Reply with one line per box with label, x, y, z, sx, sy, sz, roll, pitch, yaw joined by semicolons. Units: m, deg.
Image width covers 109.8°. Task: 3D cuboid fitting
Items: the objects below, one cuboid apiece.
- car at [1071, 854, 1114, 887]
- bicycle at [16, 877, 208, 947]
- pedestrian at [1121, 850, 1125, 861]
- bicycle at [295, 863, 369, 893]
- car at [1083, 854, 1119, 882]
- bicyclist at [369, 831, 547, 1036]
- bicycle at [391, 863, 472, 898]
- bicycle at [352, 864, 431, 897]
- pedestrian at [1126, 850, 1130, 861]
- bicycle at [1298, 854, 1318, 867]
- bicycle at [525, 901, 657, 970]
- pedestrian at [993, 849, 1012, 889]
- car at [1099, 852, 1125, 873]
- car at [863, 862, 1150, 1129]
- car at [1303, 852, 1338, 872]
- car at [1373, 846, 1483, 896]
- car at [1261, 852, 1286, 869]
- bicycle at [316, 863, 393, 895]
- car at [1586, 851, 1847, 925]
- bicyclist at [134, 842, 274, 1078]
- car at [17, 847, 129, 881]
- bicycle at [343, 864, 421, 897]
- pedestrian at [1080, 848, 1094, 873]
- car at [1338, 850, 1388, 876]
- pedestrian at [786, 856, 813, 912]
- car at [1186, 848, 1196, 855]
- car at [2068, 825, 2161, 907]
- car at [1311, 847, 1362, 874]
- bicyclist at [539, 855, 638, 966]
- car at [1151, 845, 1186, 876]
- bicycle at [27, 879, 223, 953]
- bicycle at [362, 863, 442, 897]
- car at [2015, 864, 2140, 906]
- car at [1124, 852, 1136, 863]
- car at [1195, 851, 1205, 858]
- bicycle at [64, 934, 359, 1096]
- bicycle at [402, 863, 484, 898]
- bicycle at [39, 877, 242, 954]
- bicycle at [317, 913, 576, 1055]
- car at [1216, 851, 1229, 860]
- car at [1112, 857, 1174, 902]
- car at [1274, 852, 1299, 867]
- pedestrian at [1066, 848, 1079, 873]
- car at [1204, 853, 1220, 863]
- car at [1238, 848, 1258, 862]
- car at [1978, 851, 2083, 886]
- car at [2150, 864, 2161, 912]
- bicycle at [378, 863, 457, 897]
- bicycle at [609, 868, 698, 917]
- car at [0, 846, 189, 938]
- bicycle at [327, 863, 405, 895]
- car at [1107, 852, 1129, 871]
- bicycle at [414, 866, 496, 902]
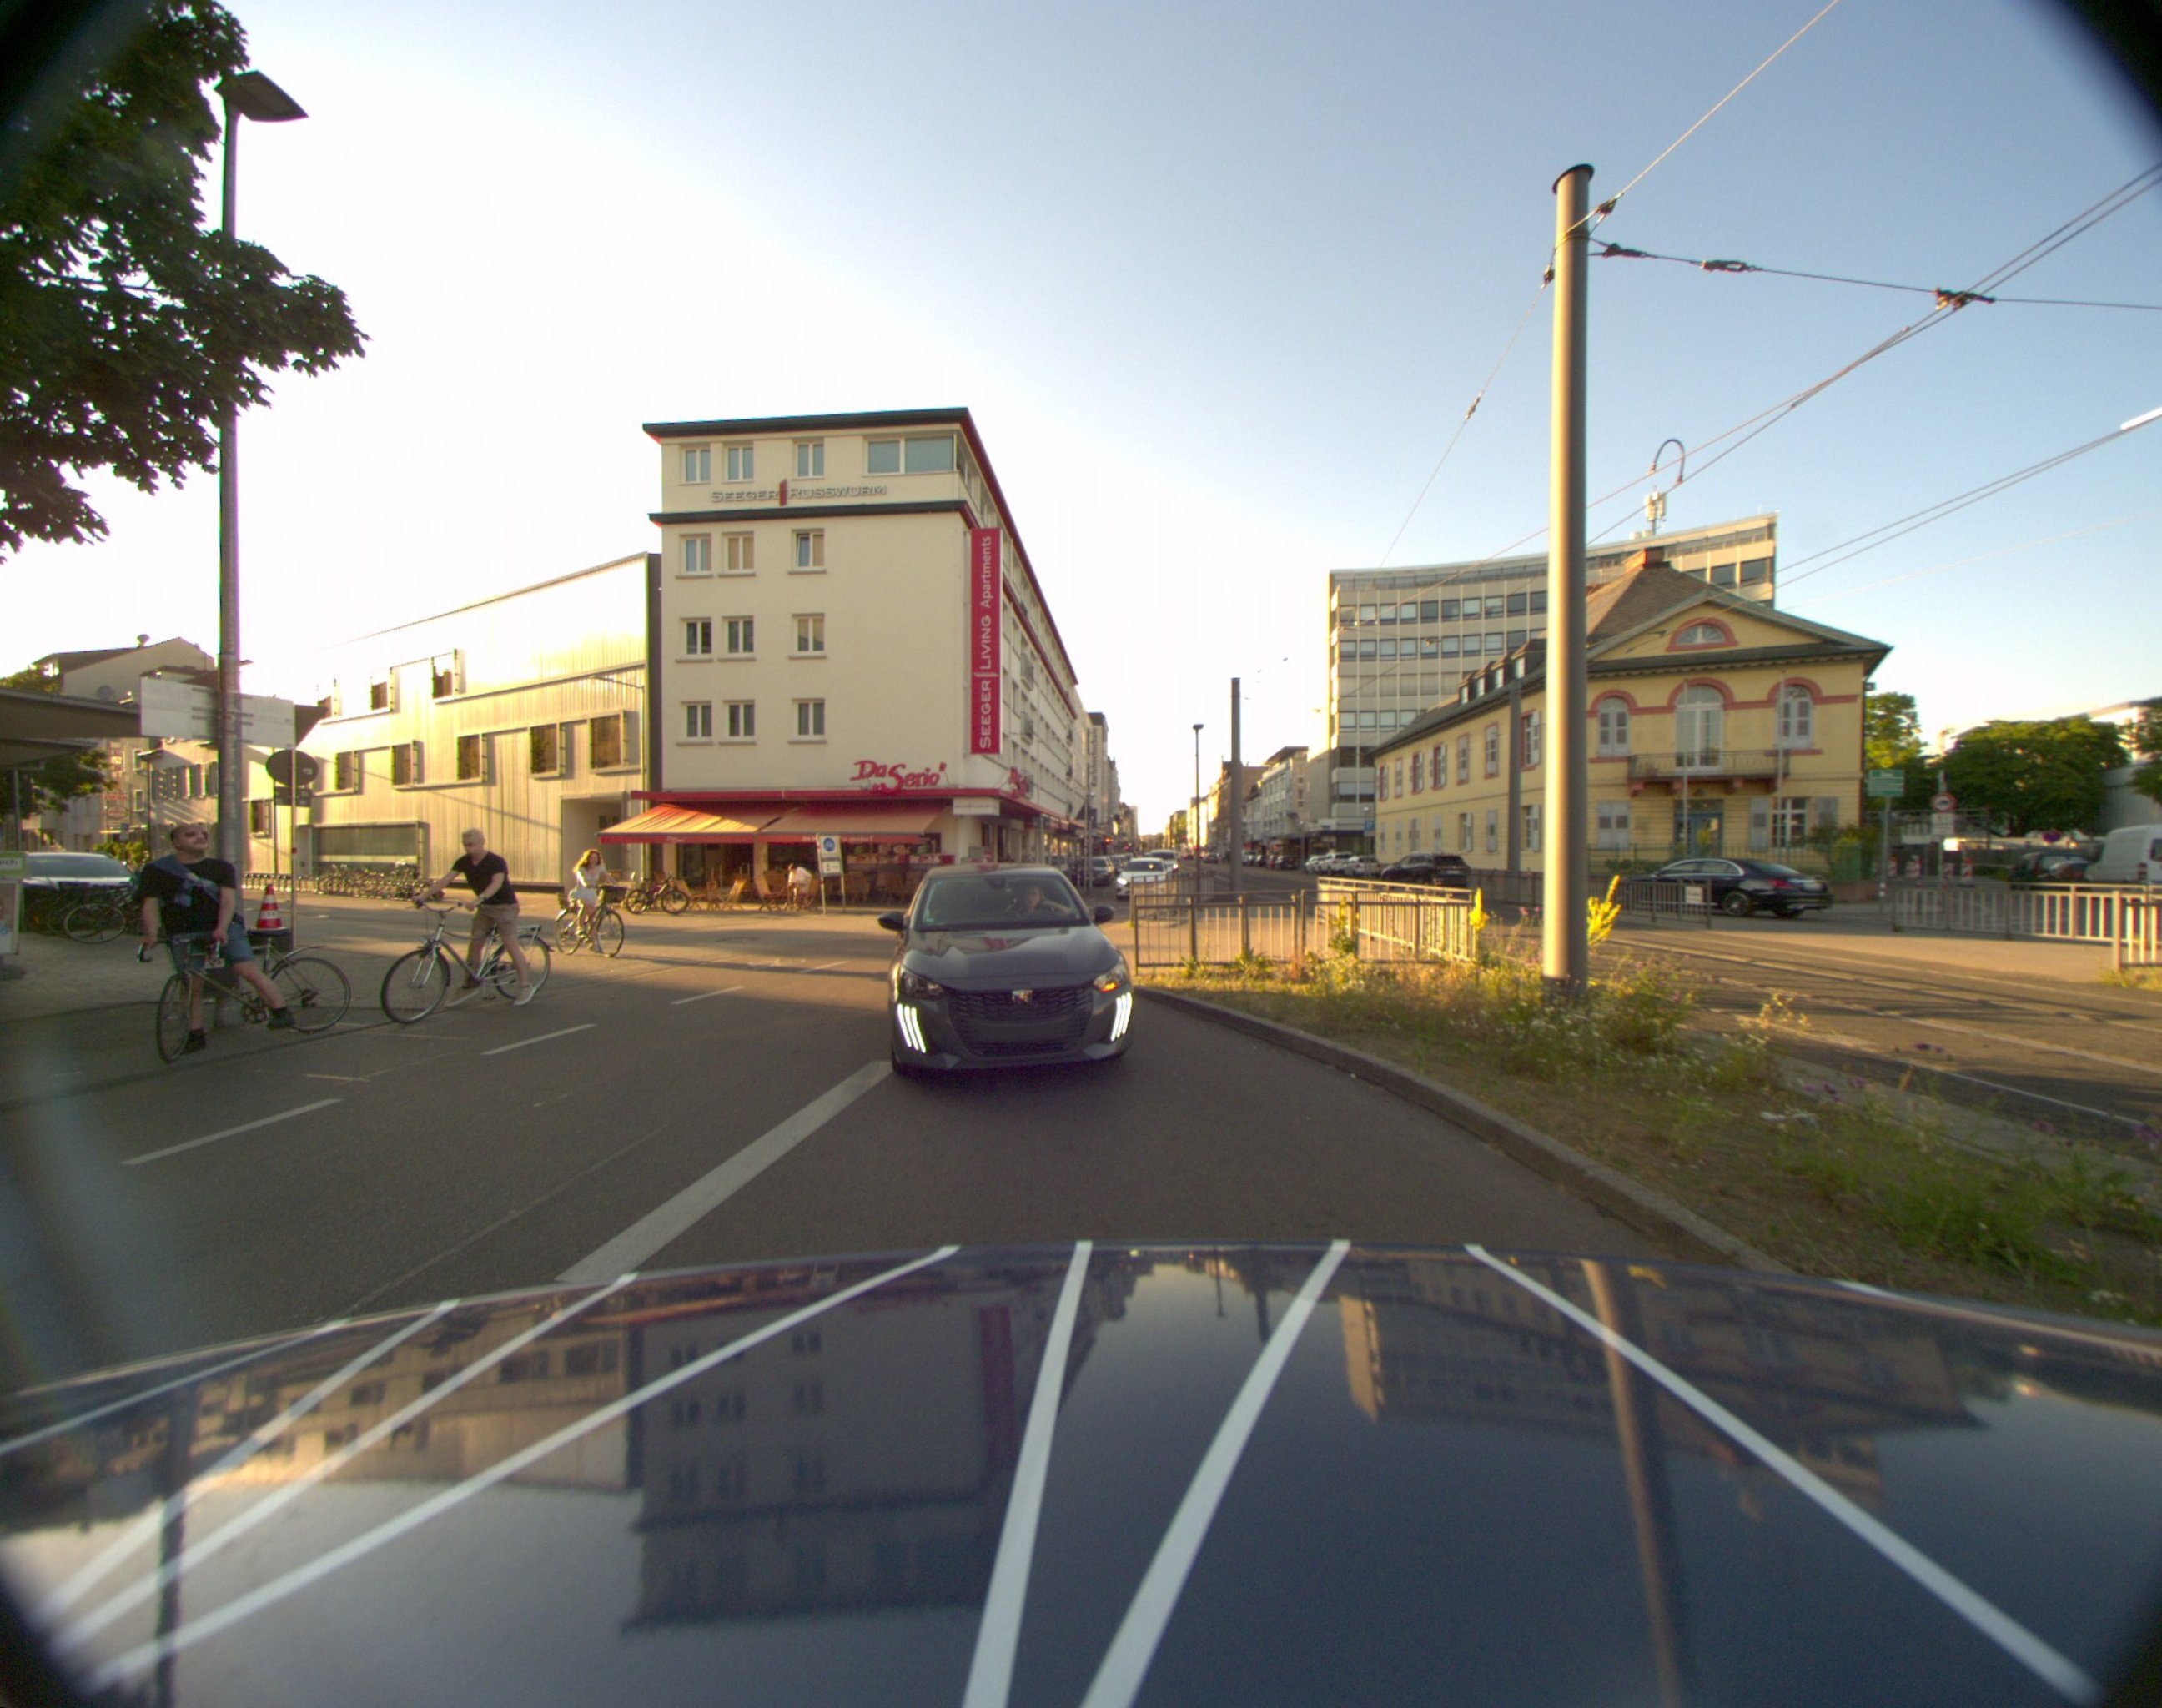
car;0.651;0.775;38.135;1.739;1.503;4.687;2;0;5
bicycle;-18.358;1.078;14.478;0.702;1.212;2.118;0;-2;27
pedestrian;6.277;0.231;113.286;0.610;1.743;0.605;1;1;5
bicycle;-31.418;0.985;31.905;0.703;1.213;2.116;0;-1;20
car;1.204;0.773;44.209;1.789;1.503;4.053;2;0;5
bicyclist;-6.158;0.737;7.593;0.840;1.906;1.115;0;1;1
bicycle;-23.689;0.944;27.768;0.702;1.213;2.117;0;-1;27
bicycle;-26.486;1.005;29.242;0.702;1.213;2.117;0;-1;27
pedestrian;7.059;0.235;113.235;0.605;1.717;0.646;1;1;5
bicycle;24.937;0.712;83.453;1.973;1.417;0.834;1;1;3
bicycle;-7.555;1.212;11.697;2.007;0.876;0.842;0;1;29
pedestrian;-3.422;0.652;33.139;0.605;1.750;0.525;-1;1;-39
car;2.418;0.636;58.303;1.739;1.503;4.305;2;0;5
car;-0.831;0.867;6.790;1.734;1.513;4.329;-1;0;-11
car;19.141;0.638;60.942;1.816;1.503;4.434;1;0;7
car;14.038;0.624;31.068;1.999;1.890;4.809;0;0;-4
car;20.258;0.653;80.010;1.689;1.503;4.216;8;1;5
bicycle;-29.215;0.994;30.614;0.702;1.213;2.117;0;-1;27
car;15.536;0.735;18.859;2.004;1.576;4.575;0;0;-33
bicyclist;-7.082;0.820;6.161;0.466;1.819;0.559;0;1;-3
car;-63.585;0.621;48.017;1.995;2.002;4.007;-1;1;31
bicycle;-27.304;1.023;29.715;0.702;1.213;2.117;0;-1;27
pedestrian;0.387;0.427;51.806;0.828;1.708;0.843;2;1;5
car;18.317;0.527;49.535;1.816;1.608;4.215;0;0;2
pedestrian;-7.970;0.839;21.531;0.574;1.532;0.572;0;1;-3
car;25.665;-0.517;177.345;1.998;1.543;4.002;0;0;6
car;36.495;0.379;25.945;2.092;2.615;5.437;1;1;38
car;18.346;0.480;54.829;1.817;1.775;4.496;-3;0;-4
bicyclist;-7.577;0.831;11.702;1.112;1.613;0.842;0;1;29
car;5.408;0.366;47.309;1.998;1.805;4.001;0;0;4
bicycle;-17.309;1.068;13.841;0.702;1.213;2.117;0;-1;27
bicycle;-25.723;0.975;28.824;0.702;1.213;2.117;0;-1;27
car;39.856;1.184;30.537;1.994;1.477;4.102;0;0;37
car;7.704;0.546;119.438;1.681;1.534;3.887;2;0;6
car;30.131;0.100;192.382;1.998;1.543;4.001;0;1;5
bicycle;-7.092;1.249;6.350;0.466;0.965;1.800;0;0;-3
bicycle;-22.961;0.951;27.394;0.702;1.213;2.117;0;-1;27
bicycle;-16.343;1.014;13.286;0.702;1.213;2.117;0;-1;27
bicycle;-6.163;1.207;7.597;0.840;1.014;2.076;0;2;-1
car;25.560;0.283;137.234;1.998;1.535;4.880;-1;0;5
car;2.318;0.868;27.382;1.997;1.450;4.002;0;0;8
car;20.222;0.516;74.907;1.689;1.503;4.216;0;0;5
pedestrian;-0.599;0.438;52.520;0.730;1.731;0.863;2;1;5
car;20.432;0.626;118.735;1.739;1.503;4.034;0;0;0
car;22.727;0.128;103.556;1.959;1.965;5.164;1;0;4
car;42.878;0.616;34.440;1.994;1.477;4.102;0;0;37
car;33.160;1.049;21.627;1.994;1.477;4.102;0;0;37
bicycle;-24.716;0.958;28.346;0.702;1.213;2.117;0;-1;27
bicycle;-11.647;1.026;20.737;2.110;1.280;0.705;0;1;8
car;-21.632;0.719;16.381;3.990;1.740;1.896;0;3;22
bicycle;-28.507;0.978;30.332;0.702;1.213;2.117;0;-1;27
car;3.189;0.646;64.614;1.794;1.503;4.713;2;0;4
bicycle;-22.189;1.033;26.970;0.702;1.213;2.117;0;-1;27
